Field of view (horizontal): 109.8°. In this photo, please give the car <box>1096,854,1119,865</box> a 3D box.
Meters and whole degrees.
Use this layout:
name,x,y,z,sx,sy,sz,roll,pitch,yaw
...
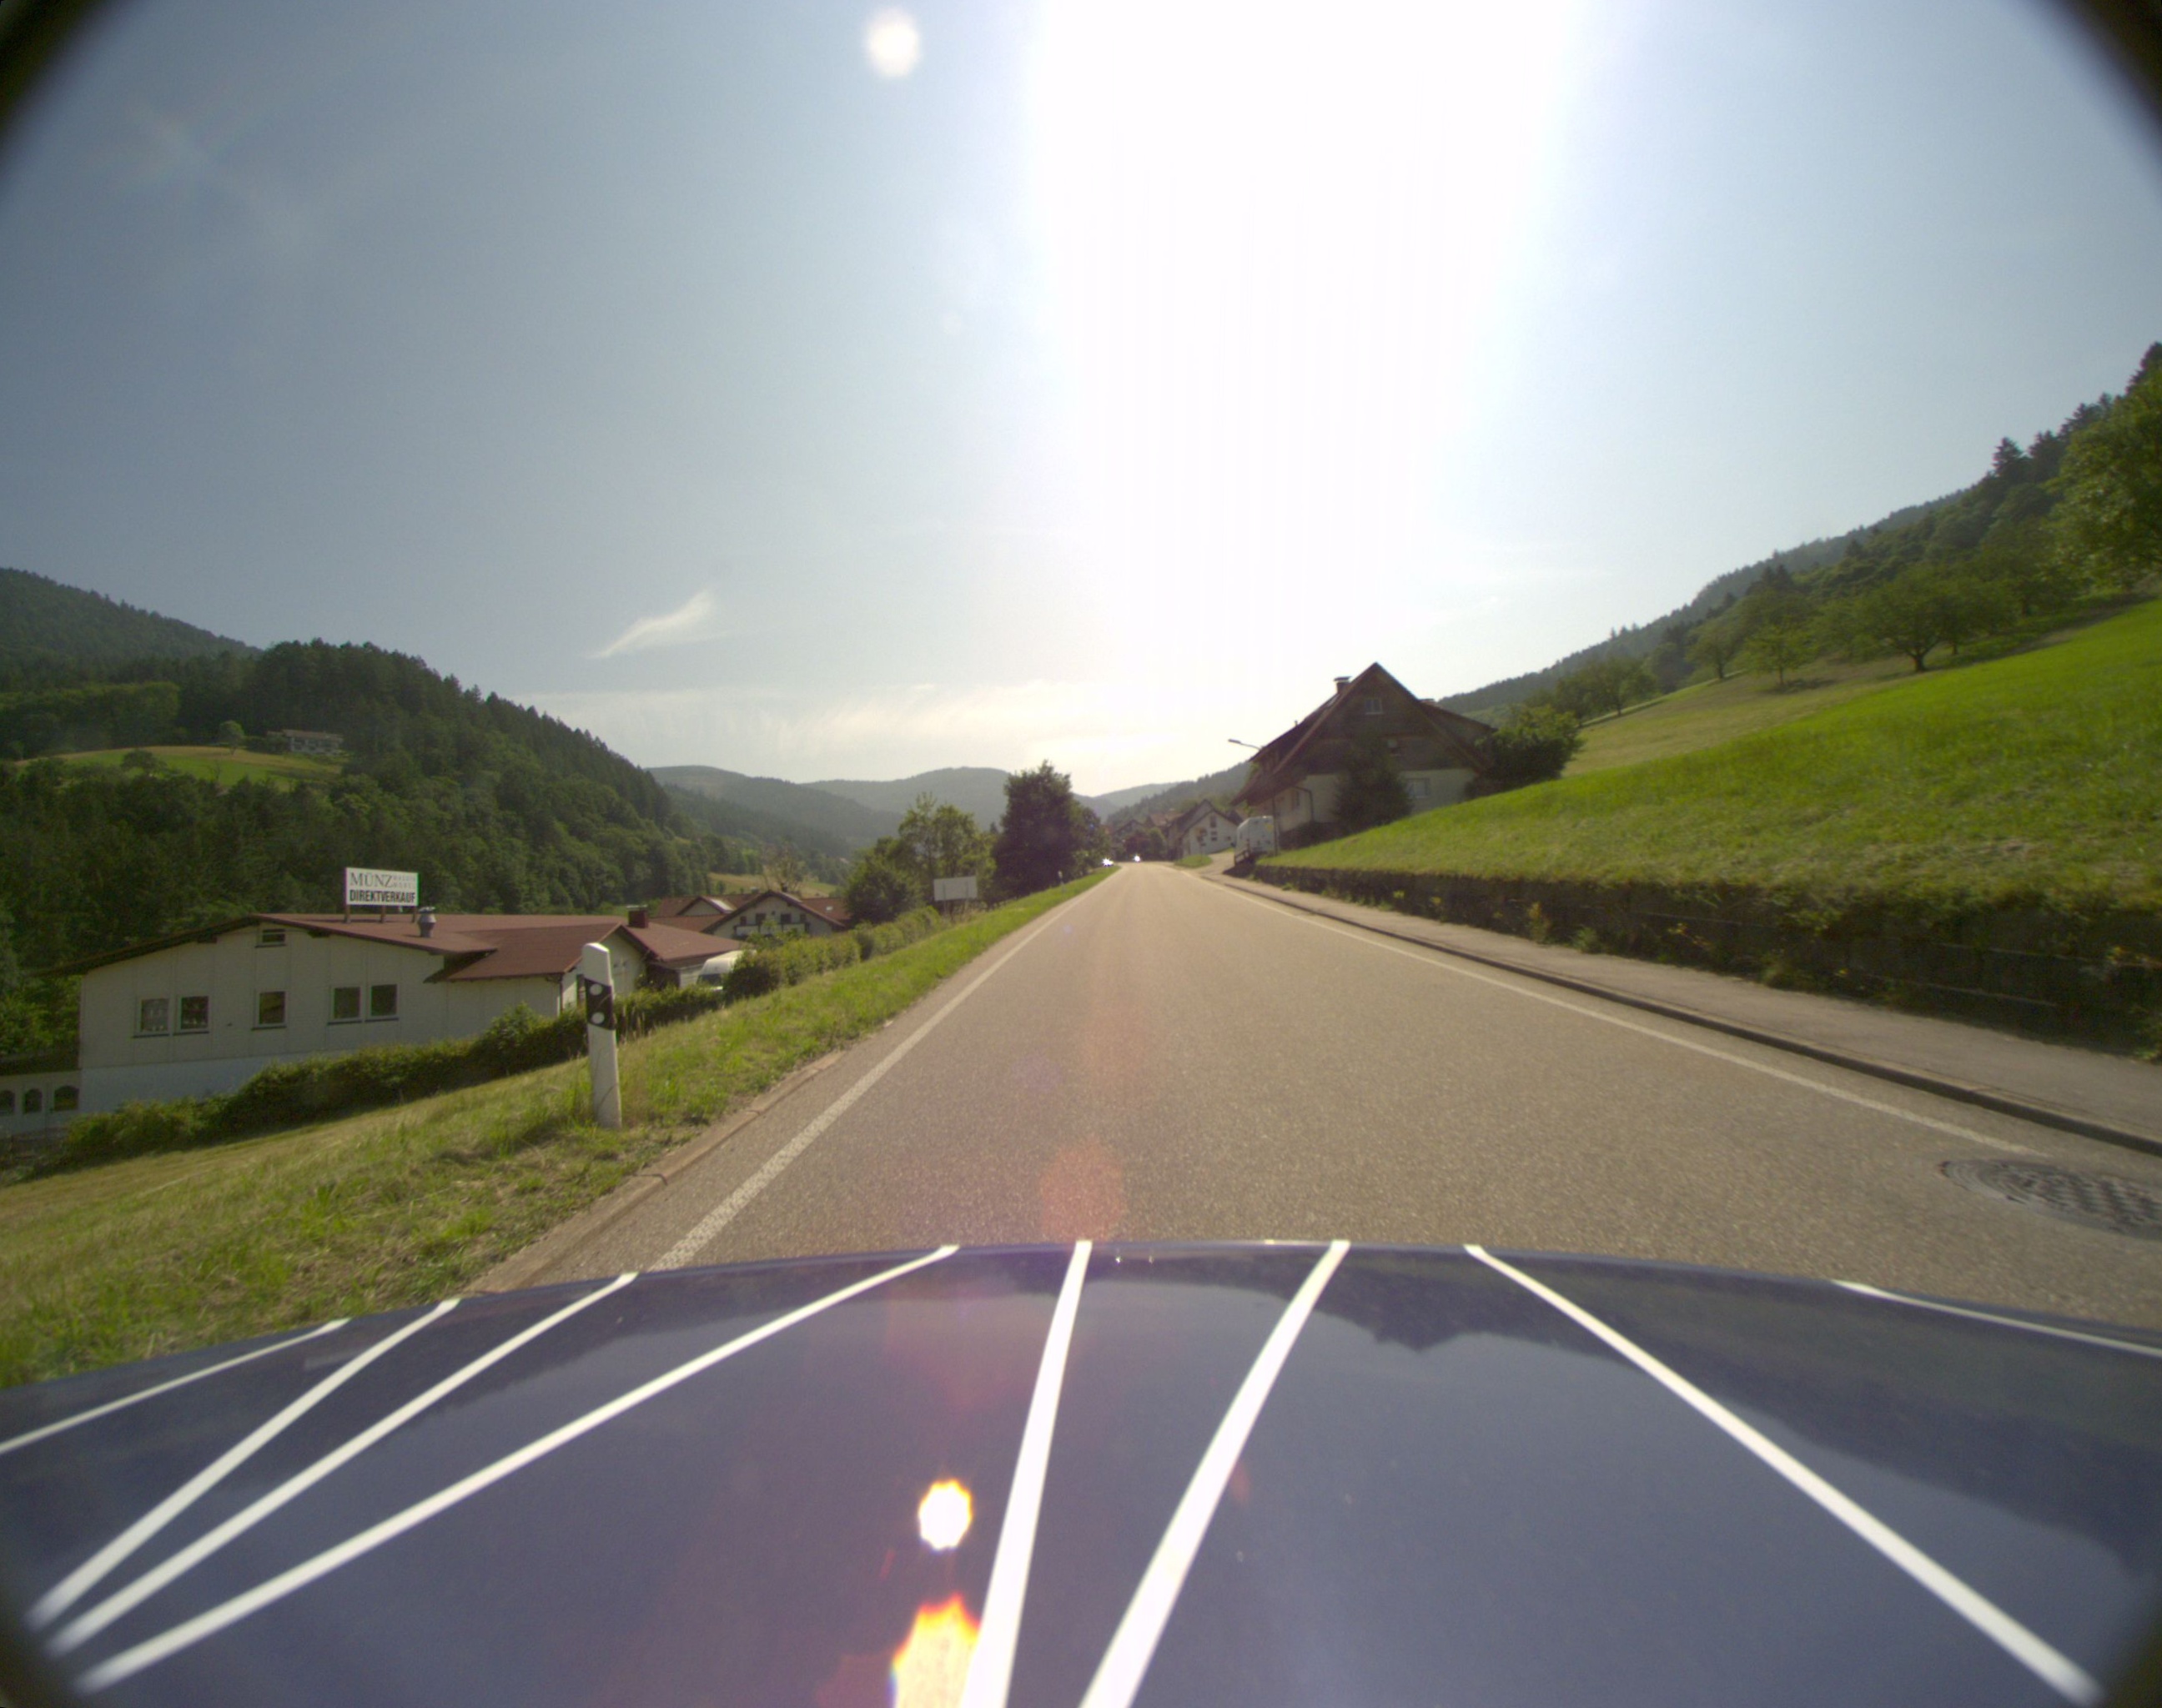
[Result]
name,x,y,z,sx,sy,sz,roll,pitch,yaw
car,5.242,1.085,149.596,1.908,1.562,4.452,-8,1,-41

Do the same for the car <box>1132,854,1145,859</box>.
name,x,y,z,sx,sy,sz,roll,pitch,yaw
car,14.991,0.666,197.904,1.788,1.331,4.690,-3,0,-14

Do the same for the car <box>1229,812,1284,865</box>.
name,x,y,z,sx,sy,sz,roll,pitch,yaw
car,10.958,-0.858,48.086,2.072,2.671,7.180,-5,-3,4
